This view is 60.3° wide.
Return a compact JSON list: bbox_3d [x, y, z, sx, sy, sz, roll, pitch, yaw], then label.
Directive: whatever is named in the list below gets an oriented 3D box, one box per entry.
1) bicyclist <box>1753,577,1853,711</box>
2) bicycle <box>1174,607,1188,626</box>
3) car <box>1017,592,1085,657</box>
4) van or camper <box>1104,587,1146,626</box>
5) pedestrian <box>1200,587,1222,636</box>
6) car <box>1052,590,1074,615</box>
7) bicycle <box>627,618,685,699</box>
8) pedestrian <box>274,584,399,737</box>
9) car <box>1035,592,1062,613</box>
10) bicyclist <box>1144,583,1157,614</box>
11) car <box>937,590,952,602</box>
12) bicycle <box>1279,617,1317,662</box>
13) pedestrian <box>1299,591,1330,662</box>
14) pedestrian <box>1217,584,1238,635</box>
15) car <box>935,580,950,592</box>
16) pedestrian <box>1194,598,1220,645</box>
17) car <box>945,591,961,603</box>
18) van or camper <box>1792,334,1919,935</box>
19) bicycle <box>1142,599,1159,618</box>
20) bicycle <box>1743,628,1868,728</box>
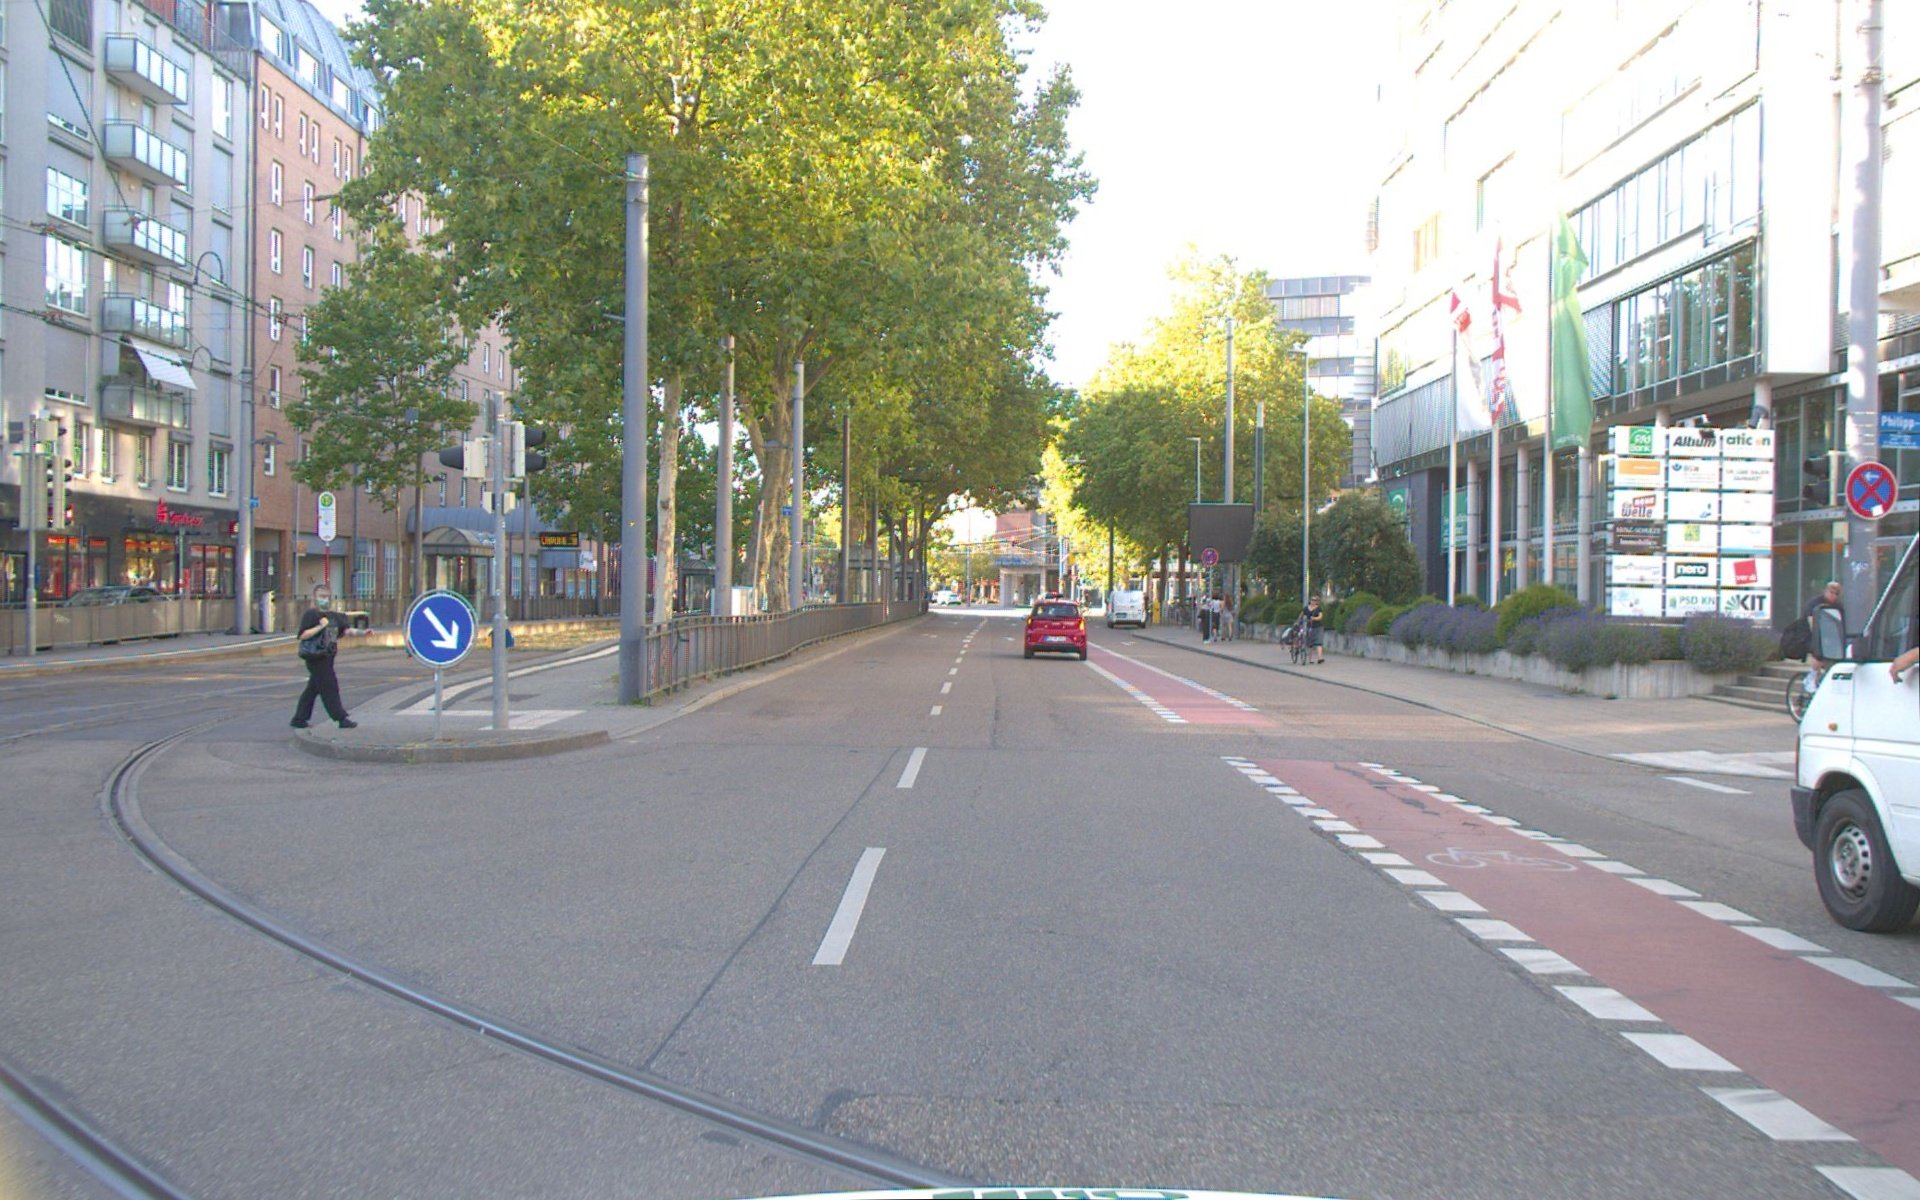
[{"bbox_3d":[10.599,0.534,20.830,0.707,1.631,1.089,-2,0,2],"label":"bicyclist"},{"bbox_3d":[12.785,0.967,95.606,0.574,1.086,1.900,0,0,0],"label":"bicycle"},{"bbox_3d":[2.283,0.588,42.205,1.580,1.561,3.412,1,0,1],"label":"car"},{"bbox_3d":[8.957,0.332,90.202,1.952,2.024,4.746,1,0,2],"label":"van or camper"},{"bbox_3d":[9.184,0.423,60.571,0.553,1.732,0.906,-2,0,-1],"label":"pedestrian"},{"bbox_3d":[7.842,0.171,126.358,1.601,1.831,3.331,0,0,3],"label":"car"},{"bbox_3d":[-4.047,0.768,22.086,0.387,0.965,1.352,0,2,6],"label":"bicycle"},{"bbox_3d":[-6.538,0.619,17.376,1.024,1.571,0.695,0,0,3],"label":"pedestrian"},{"bbox_3d":[7.166,0.196,133.602,1.742,1.561,3.509,1,0,-4],"label":"car"},{"bbox_3d":[10.907,-0.079,94.725,0.636,1.731,0.952,1,0,0],"label":"bicyclist"},{"bbox_3d":[-2.121,-0.531,221.988,1.742,1.561,3.409,1,0,-4],"label":"car"},{"bbox_3d":[8.194,0.947,40.164,0.510,0.992,2.202,-3,1,3],"label":"bicycle"},{"bbox_3d":[8.610,0.639,40.151,0.633,1.710,0.652,0,0,3],"label":"pedestrian"},{"bbox_3d":[9.882,0.347,61.056,0.529,1.827,0.906,-2,0,-1],"label":"pedestrian"},{"bbox_3d":[-2.432,-1.948,228.007,1.742,1.616,3.409,1,0,-4],"label":"car"},{"bbox_3d":[8.759,0.753,58.596,0.630,1.607,0.721,-3,0,-11],"label":"pedestrian"},{"bbox_3d":[-0.926,-0.429,215.382,1.742,1.561,3.409,1,0,-4],"label":"car"},{"bbox_3d":[5.349,0.185,5.587,1.928,2.763,6.305,2,0,1],"label":"van or camper"},{"bbox_3d":[10.904,0.500,94.592,0.669,1.086,2.469,0,0,0],"label":"bicycle"},{"bbox_3d":[10.615,0.959,20.828,0.682,1.117,1.751,-3,1,2],"label":"bicycle"}]
